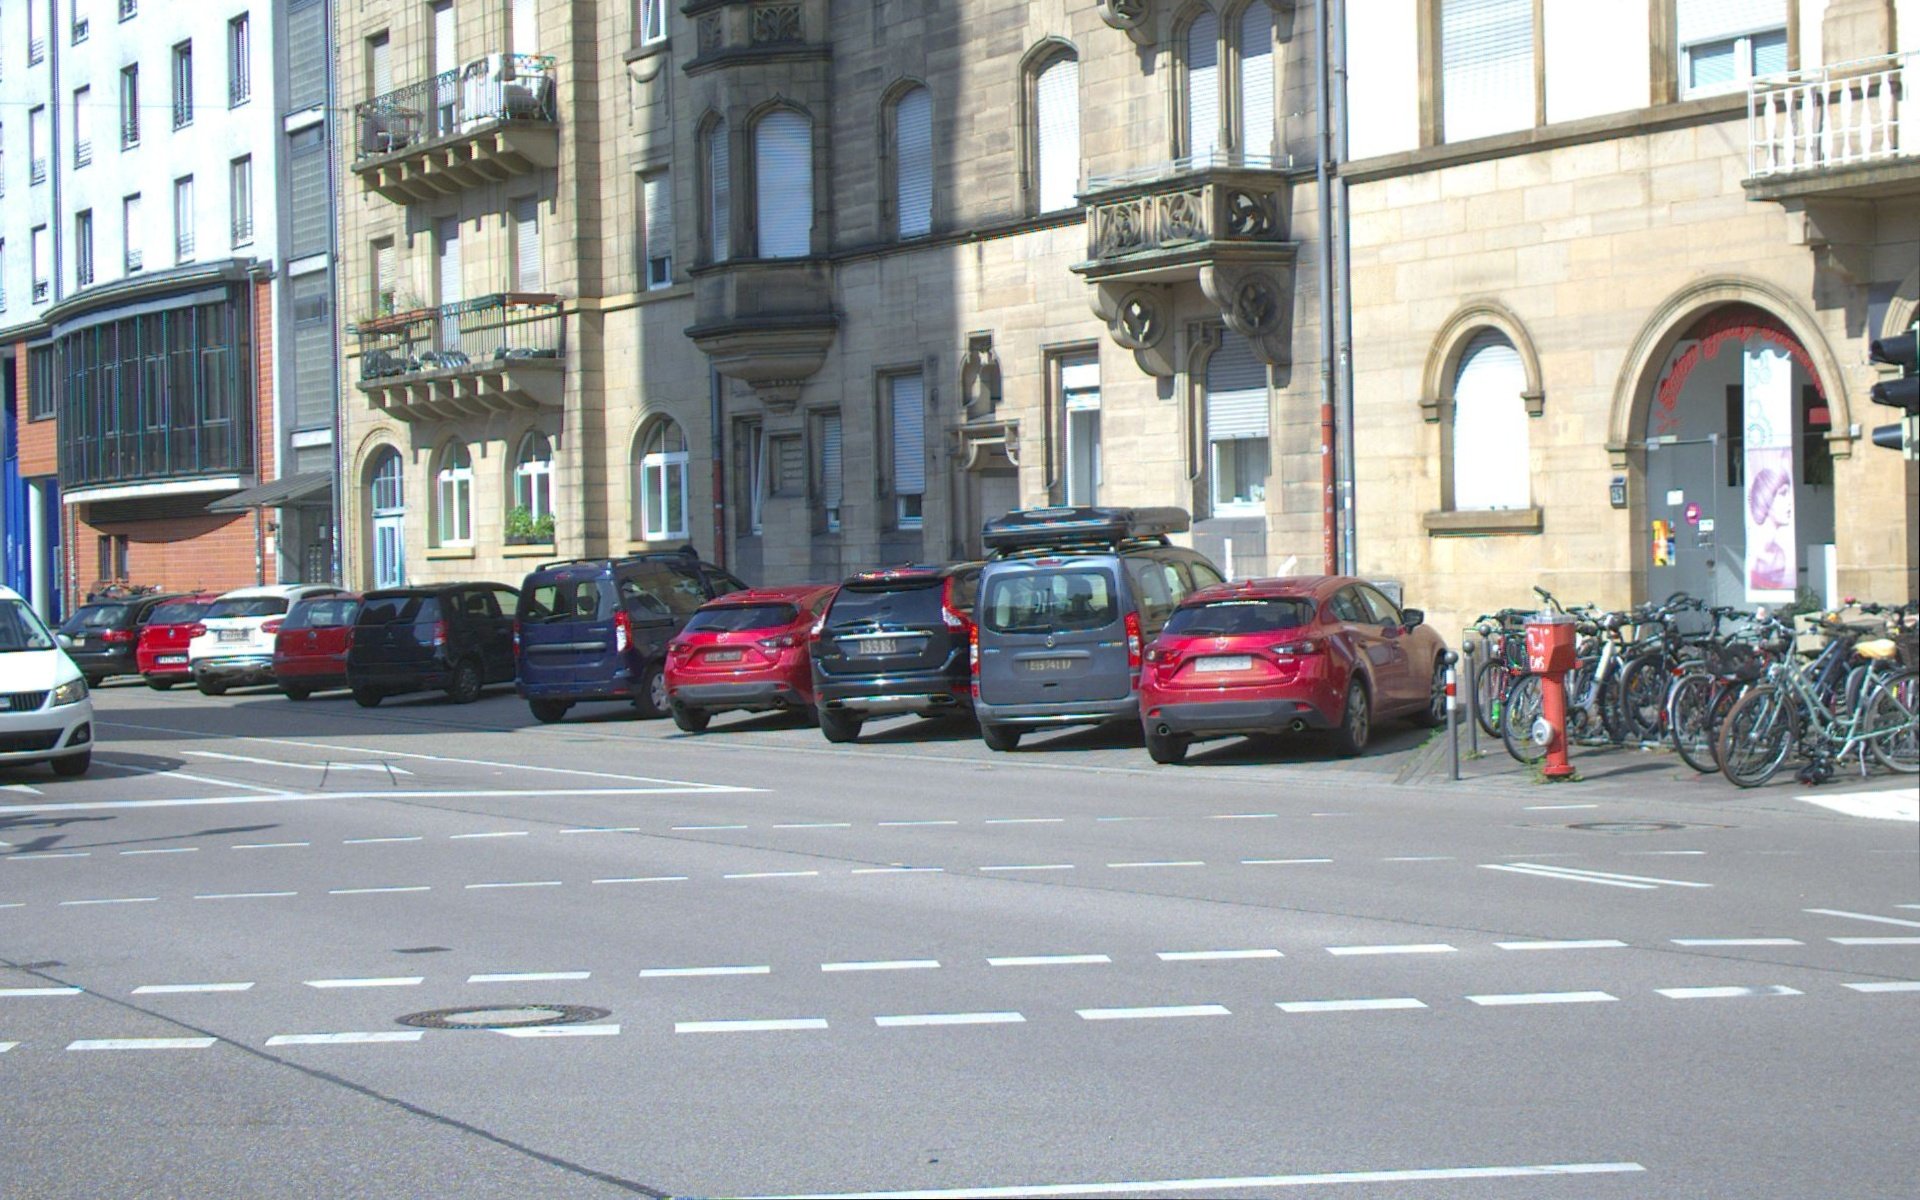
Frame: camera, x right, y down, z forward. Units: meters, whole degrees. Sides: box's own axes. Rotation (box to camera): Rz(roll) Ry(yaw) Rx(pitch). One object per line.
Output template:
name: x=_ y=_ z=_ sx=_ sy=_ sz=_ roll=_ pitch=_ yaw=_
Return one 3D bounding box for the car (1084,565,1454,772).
car: x=2.708 y=0.539 z=29.234 sx=1.964 sy=1.436 sz=3.996 roll=-2 pitch=2 yaw=23

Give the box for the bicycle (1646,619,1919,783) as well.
bicycle: x=5.875 y=0.707 z=24.377 sx=1.922 sy=1.015 sz=0.540 roll=-3 pitch=2 yaw=-17

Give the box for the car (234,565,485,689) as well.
car: x=-8.318 y=0.352 z=47.916 sx=1.603 sy=1.451 sz=3.772 roll=-2 pitch=2 yaw=23

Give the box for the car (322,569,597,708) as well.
car: x=-6.537 y=0.480 z=45.332 sx=1.707 sy=1.540 sz=3.996 roll=-2 pitch=2 yaw=23

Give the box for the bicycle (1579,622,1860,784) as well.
bicycle: x=5.490 y=0.732 z=24.843 sx=1.922 sy=1.015 sz=0.540 roll=-4 pitch=2 yaw=-17

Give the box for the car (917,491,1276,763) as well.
car: x=1.350 y=0.199 z=32.064 sx=1.964 sy=2.075 sz=3.997 roll=-2 pitch=5 yaw=23

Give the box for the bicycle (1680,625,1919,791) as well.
bicycle: x=5.966 y=0.728 z=23.596 sx=1.870 sy=1.015 sz=0.602 roll=-3 pitch=2 yaw=-5

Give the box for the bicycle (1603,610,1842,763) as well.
bicycle: x=5.891 y=0.653 z=26.532 sx=1.922 sy=1.015 sz=0.540 roll=-4 pitch=2 yaw=-31

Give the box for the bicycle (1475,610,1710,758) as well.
bicycle: x=5.042 y=0.652 z=27.358 sx=1.922 sy=1.015 sz=0.540 roll=-4 pitch=2 yaw=-31

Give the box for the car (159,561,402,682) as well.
car: x=-9.897 y=0.293 z=50.327 sx=1.603 sy=1.495 sz=3.772 roll=-2 pitch=2 yaw=23

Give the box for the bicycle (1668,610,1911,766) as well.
bicycle: x=6.270 y=0.651 z=25.952 sx=1.922 sy=1.015 sz=0.540 roll=-4 pitch=2 yaw=-31

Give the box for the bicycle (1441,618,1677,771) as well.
bicycle: x=4.603 y=0.708 z=26.366 sx=1.923 sy=1.015 sz=0.540 roll=-5 pitch=2 yaw=-35

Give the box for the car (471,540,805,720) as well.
car: x=-3.720 y=0.324 z=40.398 sx=1.913 sy=1.818 sz=3.994 roll=-2 pitch=2 yaw=29

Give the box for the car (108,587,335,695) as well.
car: x=-11.351 y=0.606 z=53.029 sx=1.603 sy=1.392 sz=3.569 roll=-2 pitch=2 yaw=23

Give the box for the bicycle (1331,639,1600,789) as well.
bicycle: x=3.663 y=0.821 z=25.038 sx=1.927 sy=1.015 sz=0.539 roll=-1 pitch=3 yaw=43

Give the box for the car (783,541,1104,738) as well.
car: x=-0.090 y=0.352 z=34.316 sx=1.707 sy=1.662 sz=3.996 roll=-2 pitch=2 yaw=23

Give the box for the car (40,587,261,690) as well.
car: x=-12.942 y=0.597 z=55.145 sx=1.603 sy=1.392 sz=3.569 roll=-2 pitch=2 yaw=23

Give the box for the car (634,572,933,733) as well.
car: x=-1.852 y=0.533 z=37.405 sx=1.912 sy=1.439 sz=3.997 roll=-2 pitch=2 yaw=18

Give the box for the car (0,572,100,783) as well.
car: x=-9.245 y=0.643 z=30.437 sx=1.809 sy=1.734 sz=4.663 roll=-1 pitch=1 yaw=-32

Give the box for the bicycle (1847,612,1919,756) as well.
bicycle: x=7.372 y=0.624 z=25.122 sx=0.538 sy=1.015 sz=1.929 roll=-4 pitch=2 yaw=-27
